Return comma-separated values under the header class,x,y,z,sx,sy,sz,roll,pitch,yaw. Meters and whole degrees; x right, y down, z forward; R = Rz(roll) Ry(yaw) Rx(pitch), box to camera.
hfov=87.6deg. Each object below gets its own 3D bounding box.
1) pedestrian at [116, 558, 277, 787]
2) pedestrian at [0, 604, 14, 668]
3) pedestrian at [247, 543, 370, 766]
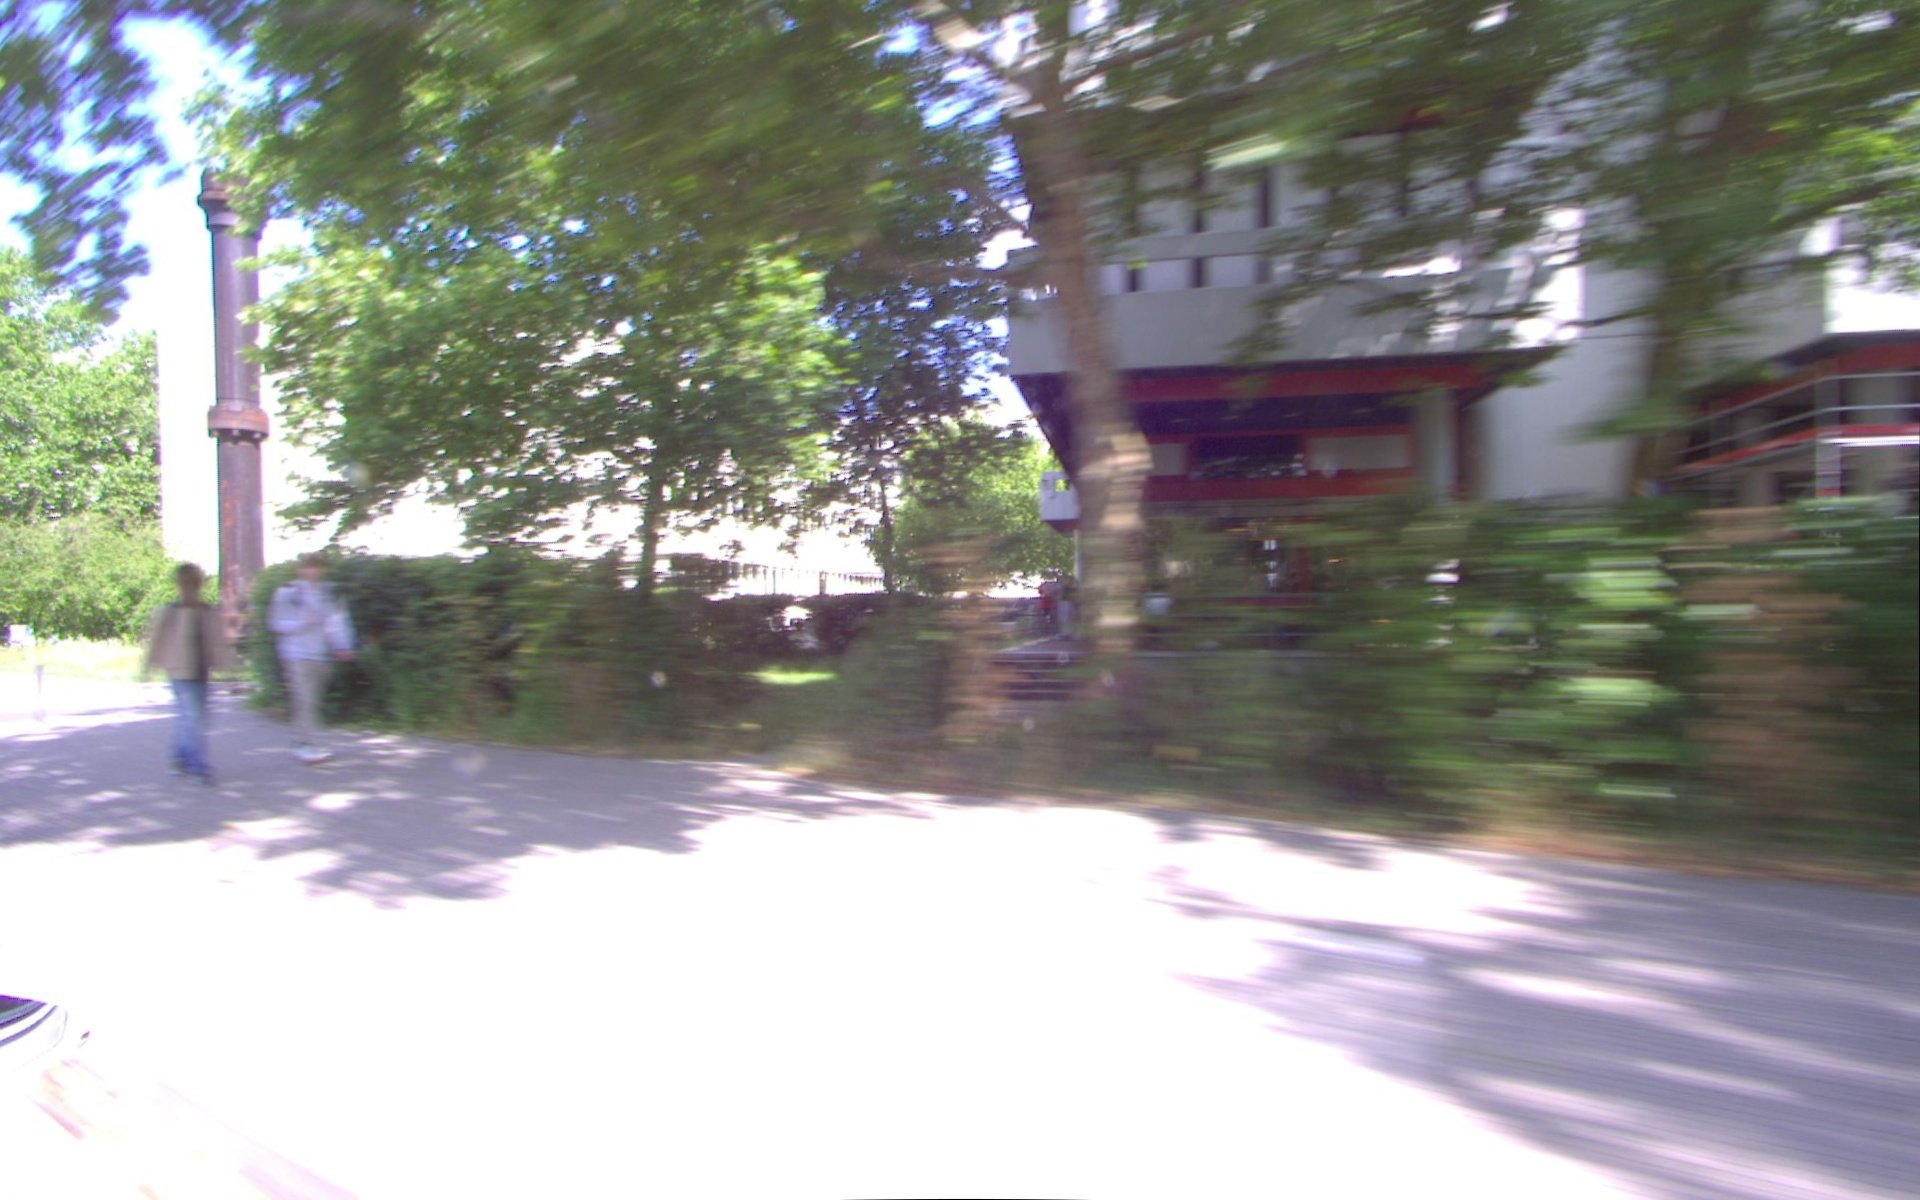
class,x,y,z,sx,sy,sz,roll,pitch,yaw
pedestrian,-6.340,0.571,8.330,0.828,1.778,0.819,0,0,32
pedestrian,-27.101,0.999,28.032,0.621,1.778,0.818,0,0,38
pedestrian,-5.870,0.472,9.027,0.781,1.897,0.669,0,0,35
